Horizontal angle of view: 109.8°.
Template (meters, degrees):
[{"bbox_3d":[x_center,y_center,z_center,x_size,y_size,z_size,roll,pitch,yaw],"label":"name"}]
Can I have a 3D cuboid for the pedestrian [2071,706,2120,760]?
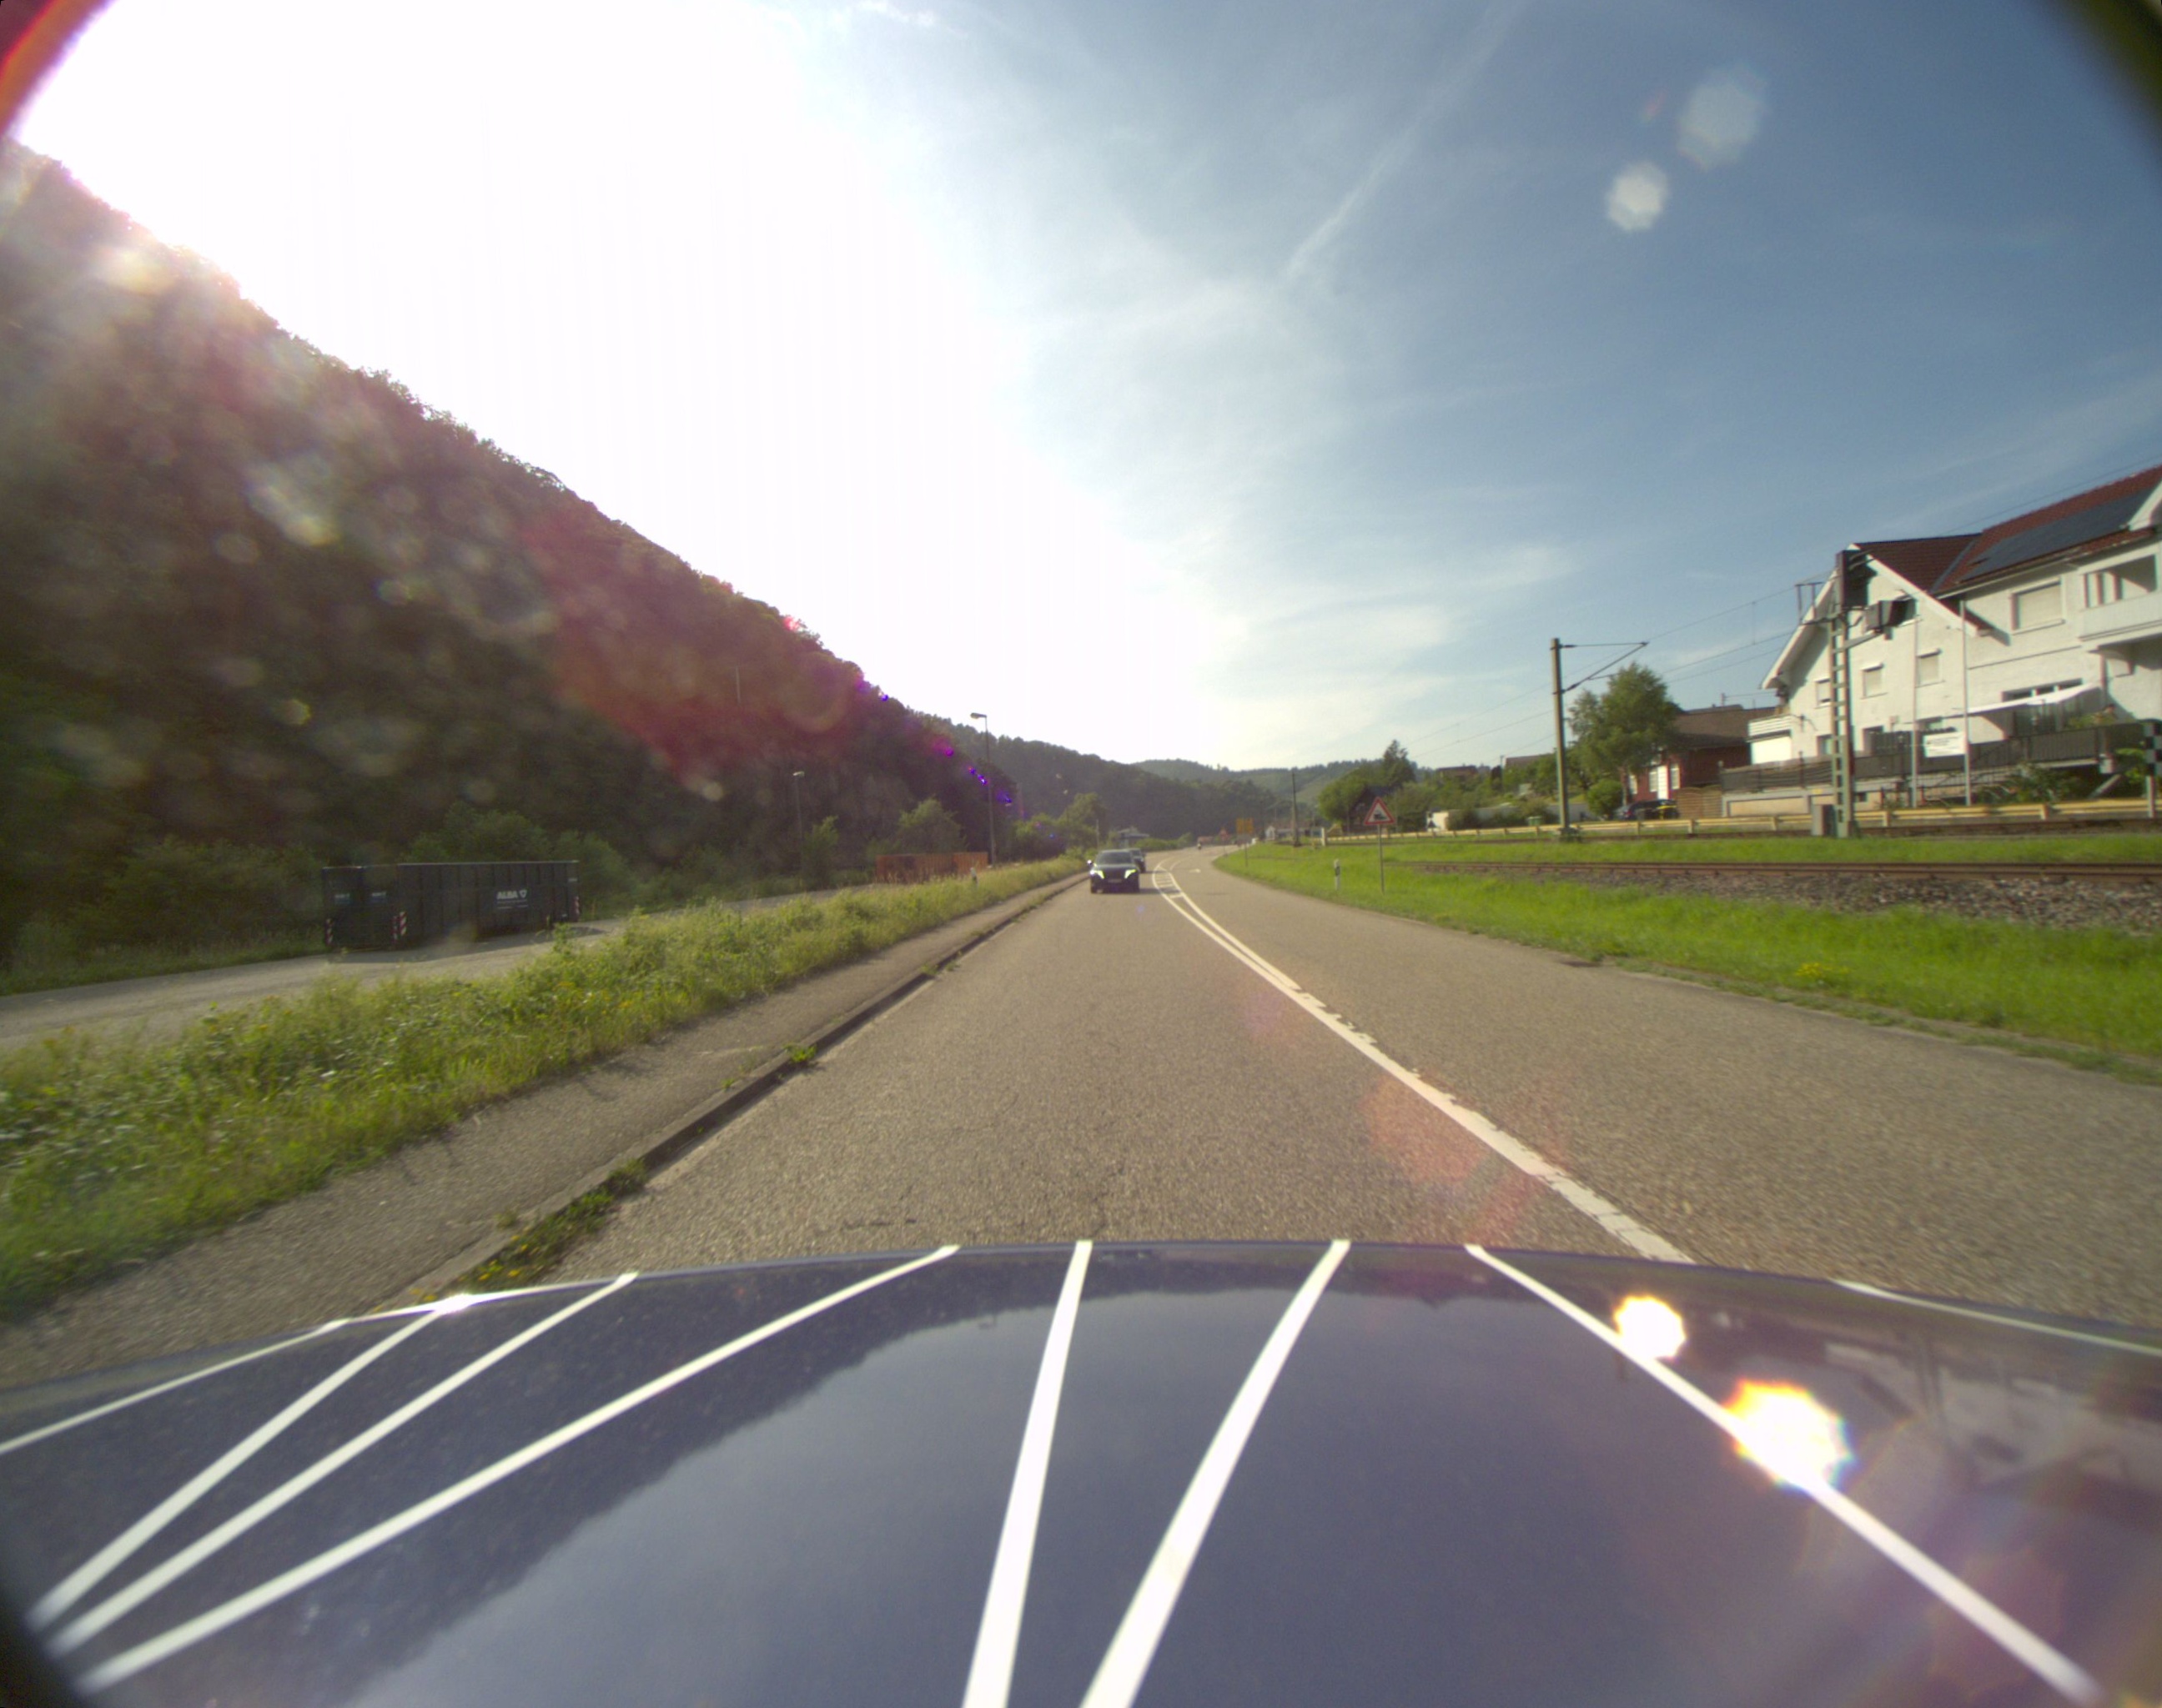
[{"bbox_3d":[33.121,-3.926,24.806,0.608,1.607,0.678,-4,1,4],"label":"pedestrian"}]

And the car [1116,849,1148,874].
[{"bbox_3d":[3.529,0.493,52.437,1.918,1.455,4.001,-4,0,7],"label":"car"}]

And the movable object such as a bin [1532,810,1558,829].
[{"bbox_3d":[32.823,-2.425,53.755,1.142,1.185,1.093,-4,1,-1],"label":"movable object such as a bin"}]

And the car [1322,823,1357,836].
[{"bbox_3d":[59.780,-5.649,175.805,7.070,2.442,2.953,-4,0,27],"label":"car"}]

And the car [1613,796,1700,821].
[{"bbox_3d":[37.276,-2.946,49.344,4.100,1.263,1.738,-4,0,16],"label":"car"}]

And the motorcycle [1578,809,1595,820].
[{"bbox_3d":[49.574,-3.901,74.557,0.664,0.987,1.744,-4,1,9],"label":"motorcycle"}]

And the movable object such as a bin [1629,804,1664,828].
[{"bbox_3d":[31.477,-2.099,42.322,1.092,1.185,1.143,-4,1,5],"label":"movable object such as a bin"}]

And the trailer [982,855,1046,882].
[{"bbox_3d":[-4.754,0.983,56.504,2.798,1.466,9.890,-5,0,6],"label":"trailer"}]

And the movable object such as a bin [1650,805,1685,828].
[{"bbox_3d":[32.653,-2.095,42.322,1.092,1.185,1.143,-4,1,5],"label":"movable object such as a bin"}]

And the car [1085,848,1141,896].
[{"bbox_3d":[1.318,0.660,30.684,1.998,1.661,5.511,-2,0,3],"label":"car"}]
